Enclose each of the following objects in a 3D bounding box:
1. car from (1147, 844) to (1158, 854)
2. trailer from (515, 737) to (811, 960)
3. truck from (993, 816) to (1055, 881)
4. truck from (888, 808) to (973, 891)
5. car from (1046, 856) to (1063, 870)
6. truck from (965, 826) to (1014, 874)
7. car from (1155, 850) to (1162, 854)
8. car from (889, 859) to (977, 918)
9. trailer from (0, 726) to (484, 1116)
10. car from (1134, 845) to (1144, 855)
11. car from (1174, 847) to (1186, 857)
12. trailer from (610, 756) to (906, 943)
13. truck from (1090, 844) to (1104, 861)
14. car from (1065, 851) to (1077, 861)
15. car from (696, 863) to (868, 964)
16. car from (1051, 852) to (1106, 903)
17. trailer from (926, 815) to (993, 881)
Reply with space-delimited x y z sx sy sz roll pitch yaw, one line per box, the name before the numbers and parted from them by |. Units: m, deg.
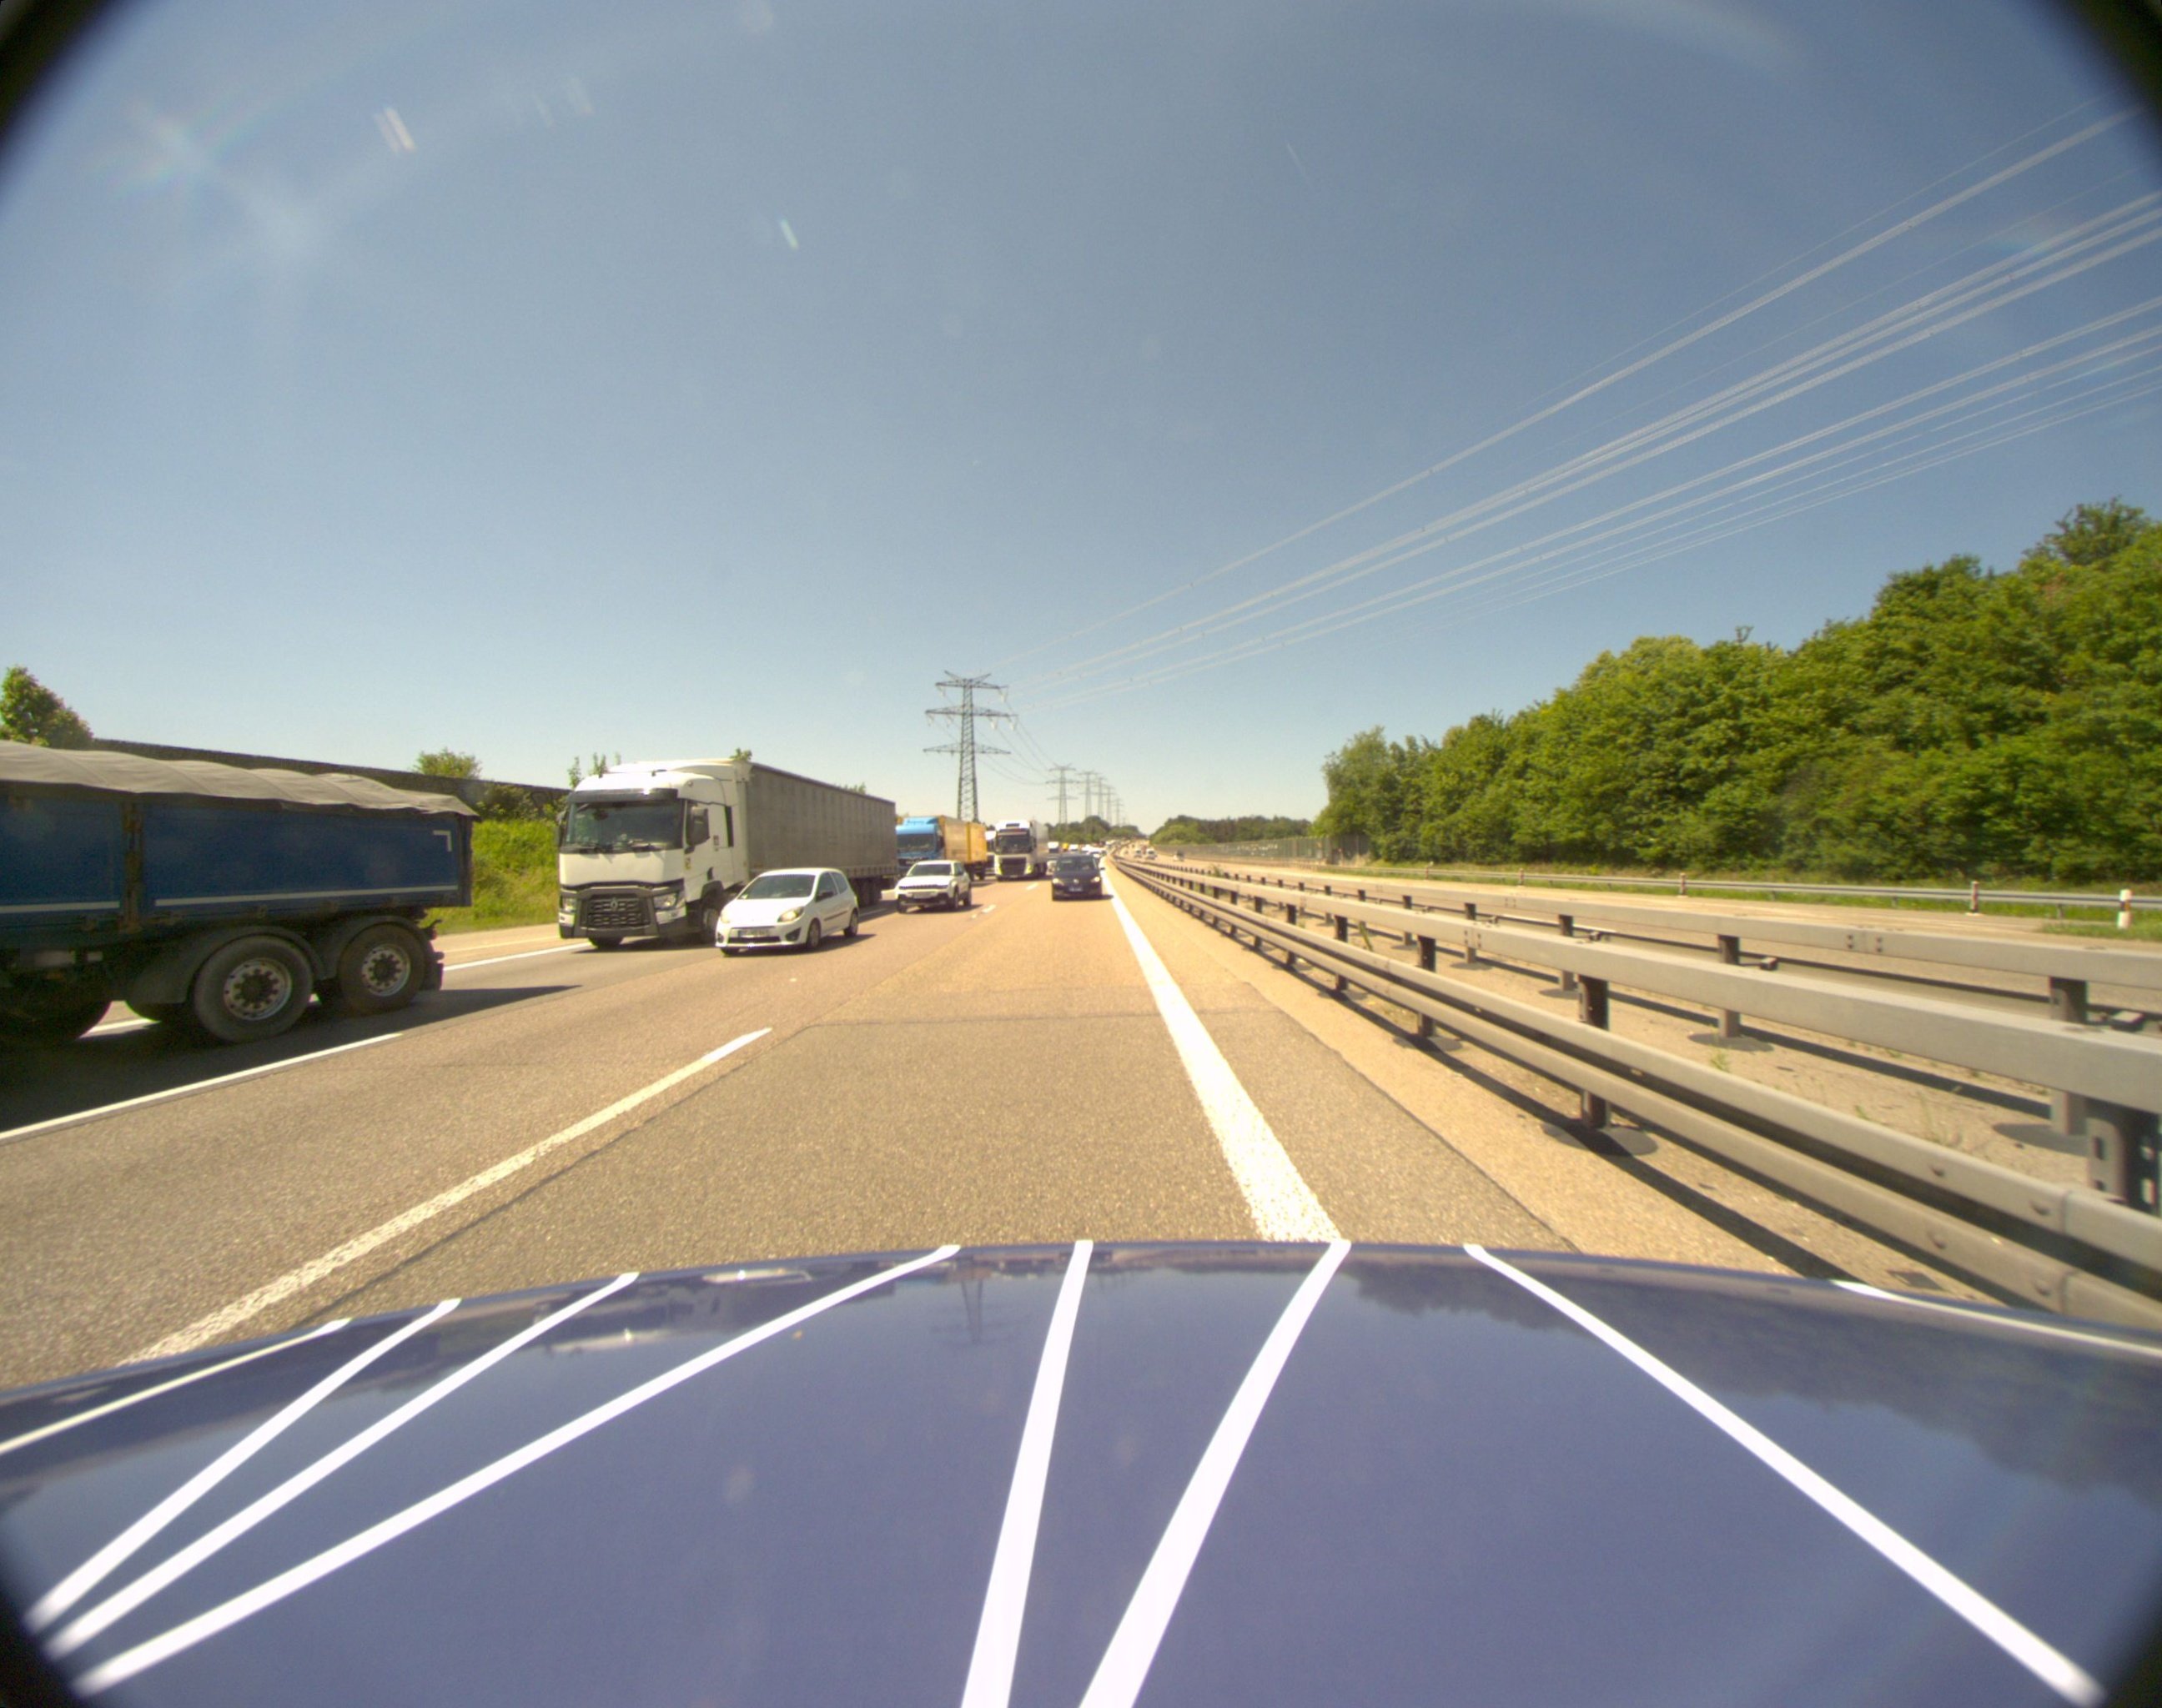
car | 17.351 -1.249 185.188 2.161 2.579 5.889 0 1 0
trailer | -8.903 -0.103 17.316 2.931 4.020 6.410 -3 0 1
truck | -3.855 -0.411 55.150 2.717 4.015 14.256 -2 0 2
truck | -8.312 -0.222 43.372 2.772 4.085 9.952 -3 0 0
car | -3.275 1.068 93.987 1.821 1.569 3.999 -2 1 1
truck | -8.179 -0.415 69.741 2.695 3.908 11.297 -2 1 1
car | 24.119 -0.609 236.522 1.689 1.447 4.345 0 1 1
car | -4.500 0.995 23.662 1.776 1.521 3.851 -2 1 2
trailer | -9.204 0.537 5.204 2.750 2.820 9.114 -3 1 1
car | 16.578 -1.193 217.778 2.058 2.636 5.837 2 1 -1
car | 20.924 -0.451 160.966 1.869 1.894 5.491 0 1 -1
trailer | -8.769 -0.113 23.783 2.969 4.026 13.752 -3 0 1
truck | 2.858 -0.283 138.096 2.309 2.789 5.109 -2 1 2
car | -1.747 0.364 130.059 1.821 1.569 3.999 -2 1 1
car | -5.494 1.015 14.528 1.659 1.502 3.825 -3 1 1
car | -0.003 0.777 27.436 1.748 1.569 4.000 -2 1 2
trailer | -8.229 -0.371 52.771 2.772 4.093 9.377 -3 0 1
